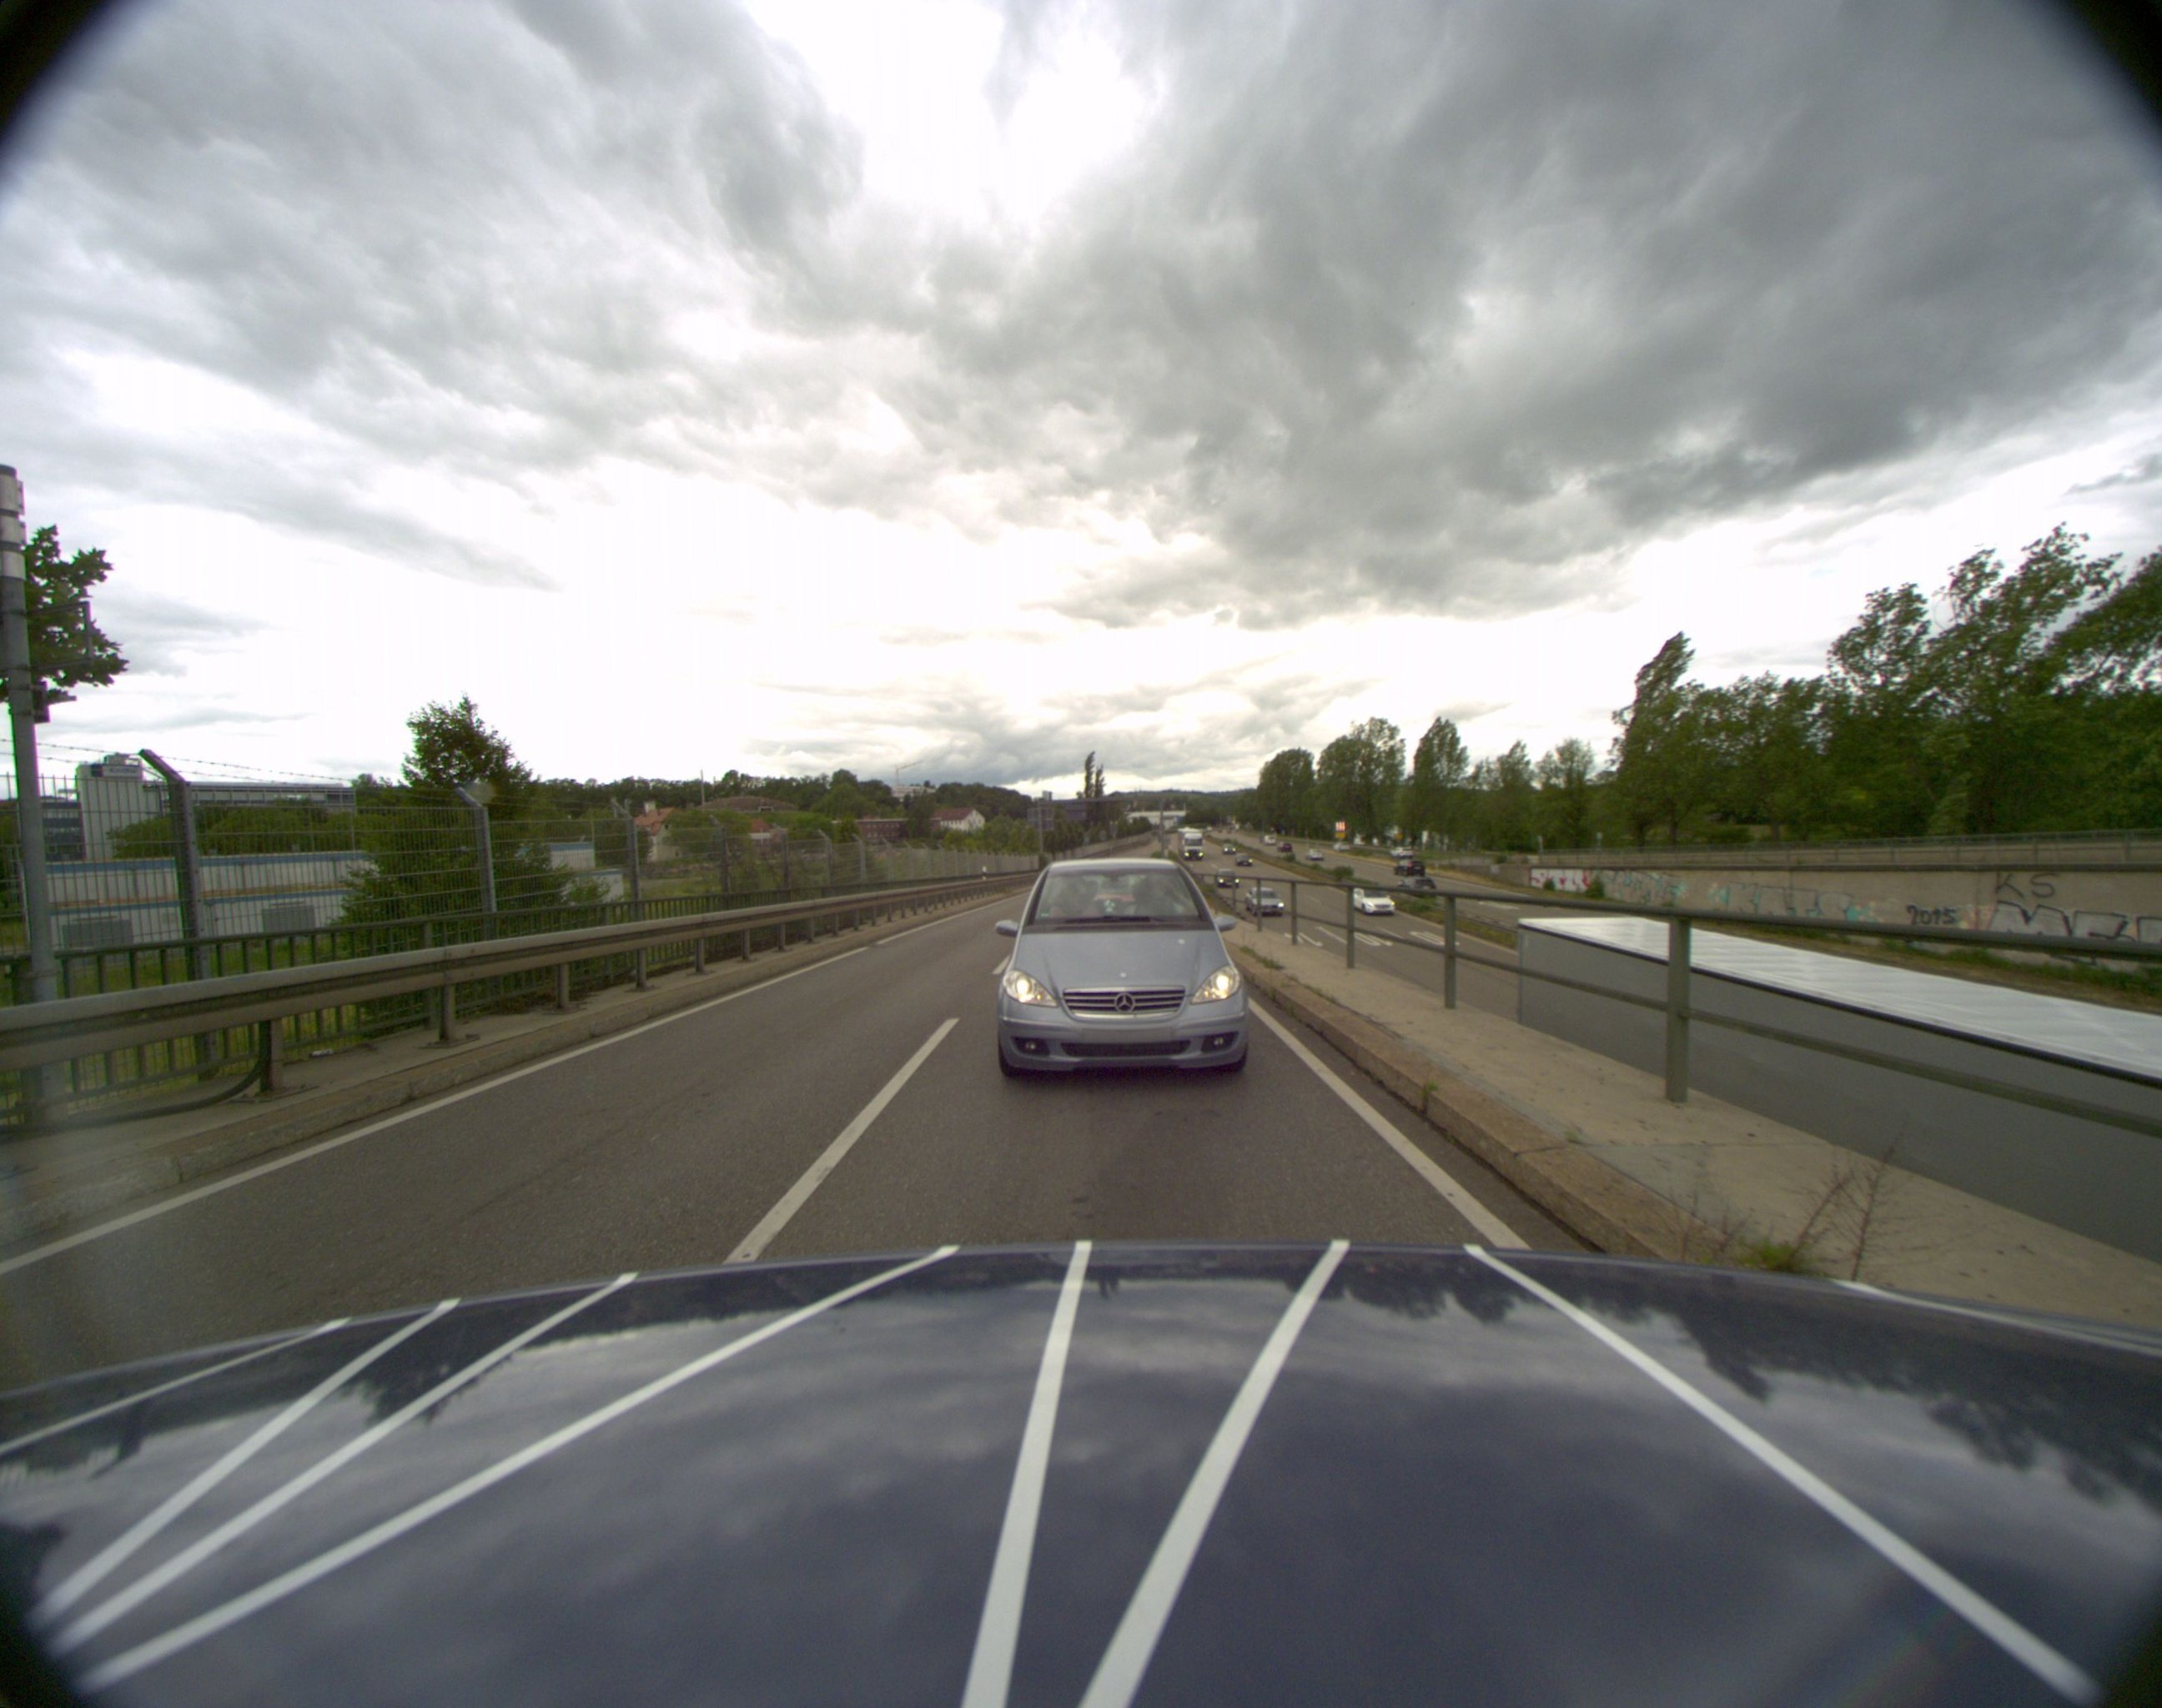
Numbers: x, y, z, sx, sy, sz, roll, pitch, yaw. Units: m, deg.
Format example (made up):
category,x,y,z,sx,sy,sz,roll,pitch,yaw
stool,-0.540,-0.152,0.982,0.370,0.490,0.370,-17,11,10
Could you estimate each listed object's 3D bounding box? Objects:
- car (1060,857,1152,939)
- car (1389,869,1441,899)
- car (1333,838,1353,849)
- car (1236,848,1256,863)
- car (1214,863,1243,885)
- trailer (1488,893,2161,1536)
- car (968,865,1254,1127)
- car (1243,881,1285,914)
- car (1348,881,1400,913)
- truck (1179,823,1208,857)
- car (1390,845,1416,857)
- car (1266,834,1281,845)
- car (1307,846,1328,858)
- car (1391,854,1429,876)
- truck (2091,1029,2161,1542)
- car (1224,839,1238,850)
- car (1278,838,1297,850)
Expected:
category,x,y,z,sx,sy,sz,roll,pitch,yaw
car,0.645,0.891,17.115,1.780,1.578,4.001,-1,0,4
car,25.047,2.202,57.159,1.998,1.831,4.421,0,3,1
car,44.316,-1.741,128.747,1.998,1.859,4.213,-1,0,1
car,20.314,0.157,93.679,1.858,1.598,4.165,1,3,4
car,13.009,1.759,67.129,1.858,1.598,4.164,-1,3,2
trailer,10.608,3.346,11.028,2.758,4.228,13.146,0,3,2
car,0.276,0.941,6.835,1.780,1.578,4.001,-1,0,3
car,11.726,2.761,48.876,1.858,1.598,4.164,-1,3,2
car,18.665,2.700,48.591,1.858,1.598,4.164,1,3,2
truck,16.145,-2.125,109.601,3.179,4.501,11.121,-1,3,4
car,42.924,-0.367,101.368,1.837,1.567,4.347,-1,0,3
car,40.178,-3.124,158.540,1.998,2.056,5.175,-1,3,2
car,31.831,-0.296,102.287,1.732,1.520,4.086,0,3,4
car,32.661,1.039,75.609,1.936,1.831,4.408,-1,3,1
truck,10.285,3.788,3.295,2.758,4.228,6.695,0,3,2
car,23.815,-1.485,121.018,1.857,1.598,4.166,-1,3,7
car,34.161,-1.692,125.975,1.920,1.729,4.550,0,3,0
